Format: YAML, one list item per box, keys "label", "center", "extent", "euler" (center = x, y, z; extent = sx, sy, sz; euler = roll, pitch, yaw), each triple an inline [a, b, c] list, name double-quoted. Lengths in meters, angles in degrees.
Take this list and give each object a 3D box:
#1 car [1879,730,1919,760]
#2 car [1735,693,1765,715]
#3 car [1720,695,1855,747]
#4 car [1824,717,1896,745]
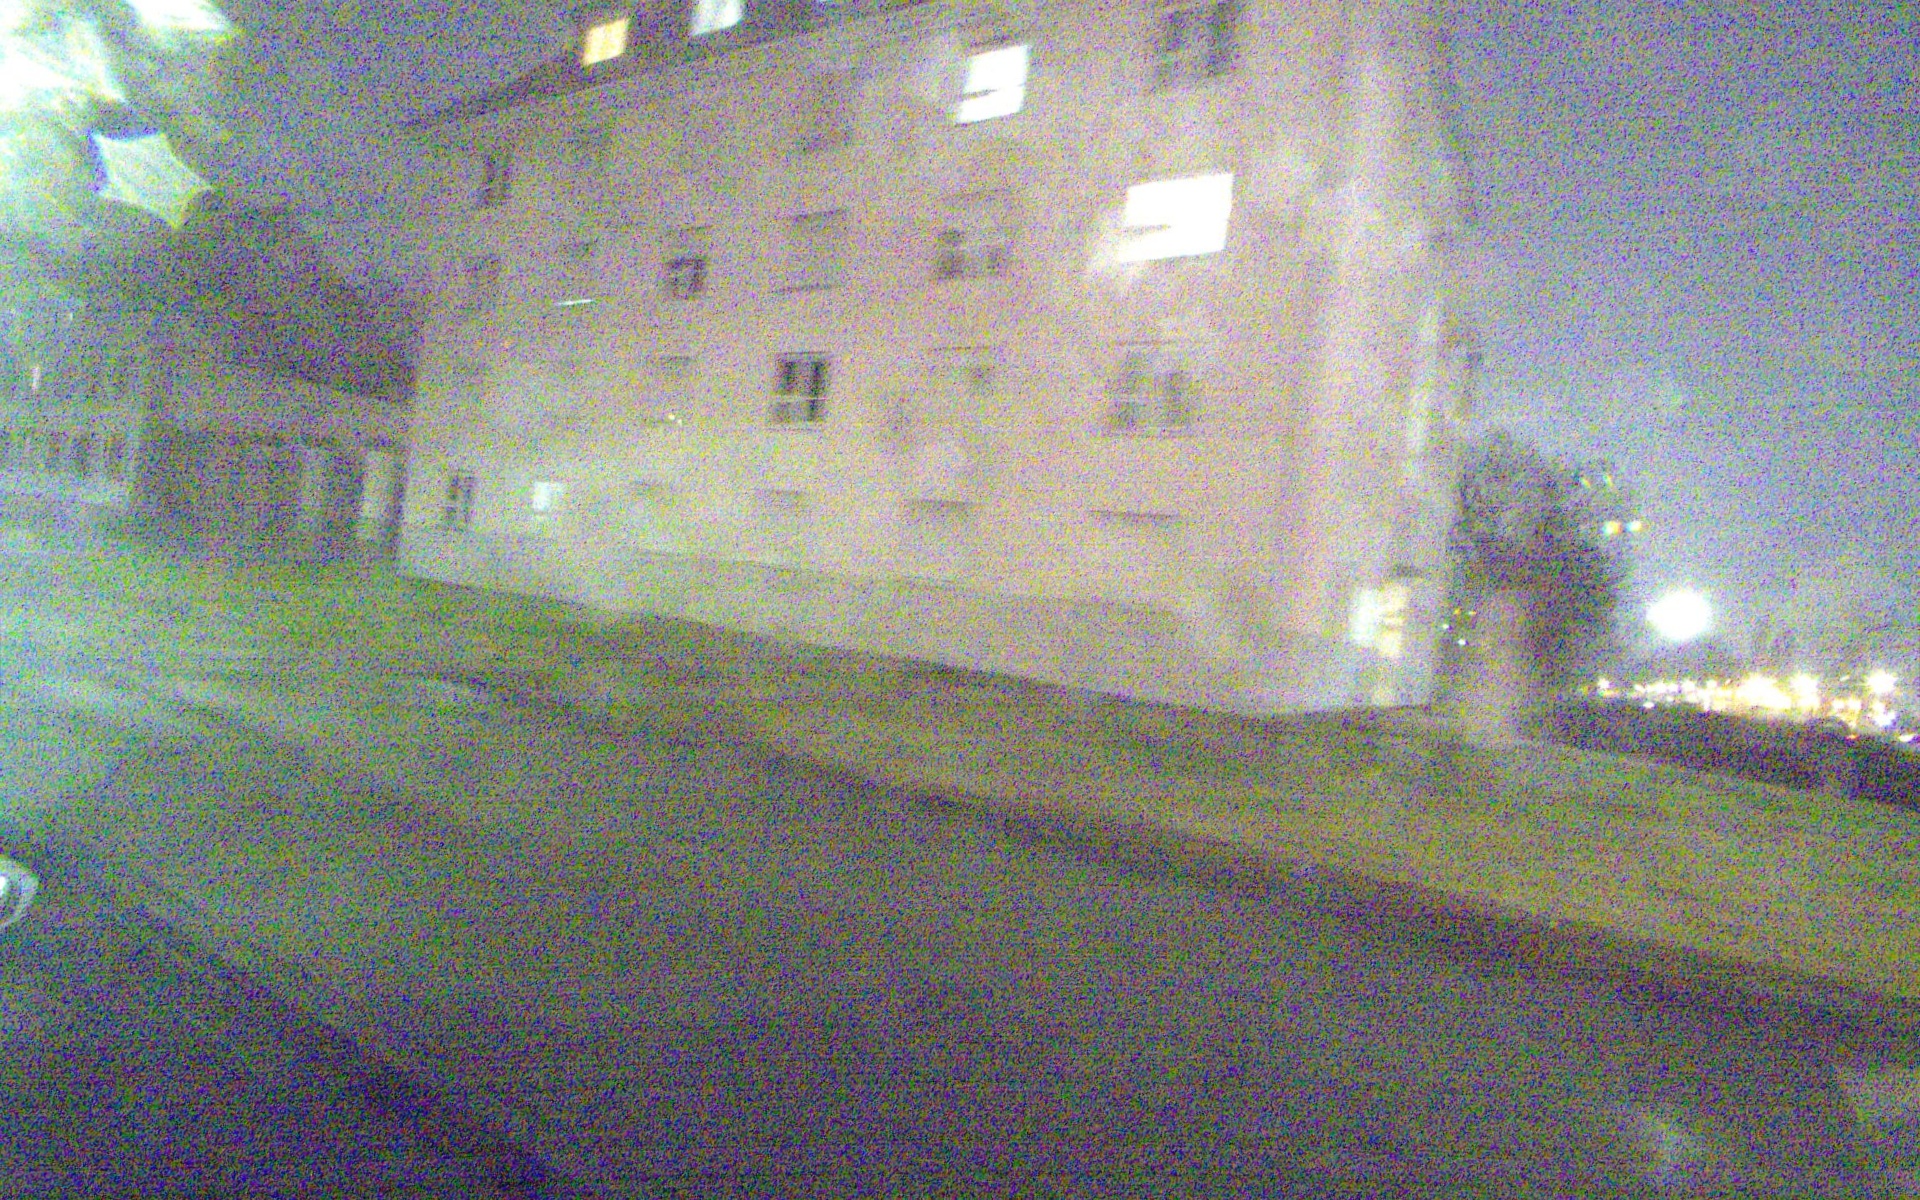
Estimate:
- label: "car"
  center: [61.063, 9.372, 63.639]
  extent: [3.937, 1.505, 1.993]
  euler: [7, 1, 35]
- label: "car"
  center: [88.157, 11.565, 112.317]
  extent: [1.967, 2.038, 3.991]
  euler: [8, 0, 32]
- label: "car"
  center: [35.833, 5.212, 43.724]
  extent: [4.116, 1.518, 1.995]
  euler: [7, 1, 32]
- label: "car"
  center: [73.098, 10.619, 81.747]
  extent: [3.935, 1.505, 1.994]
  euler: [7, 1, 33]
